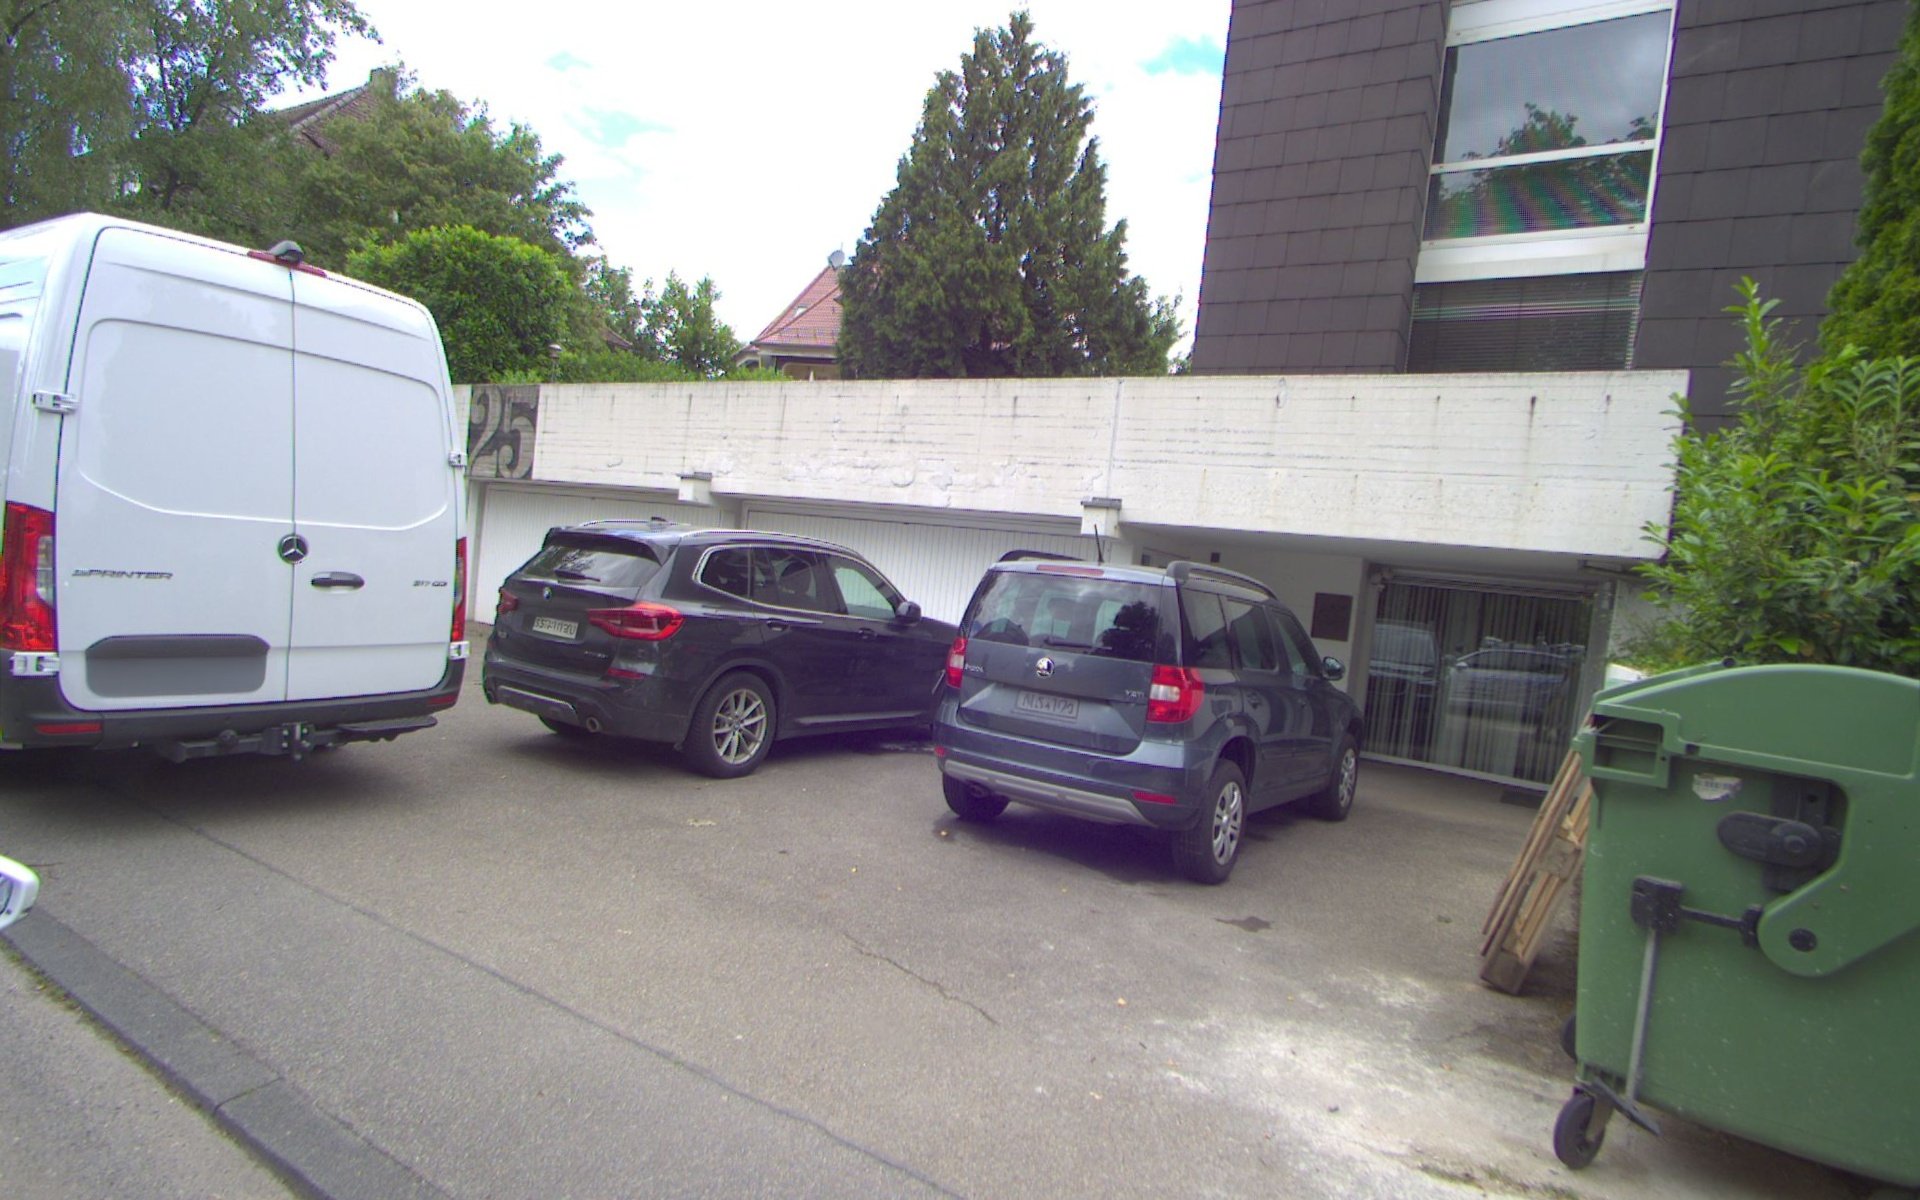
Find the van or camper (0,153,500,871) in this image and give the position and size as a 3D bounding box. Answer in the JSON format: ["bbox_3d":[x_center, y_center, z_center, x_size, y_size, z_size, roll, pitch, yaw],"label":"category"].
[{"bbox_3d":[-5.771,-0.583,6.273,6.436,2.662,1.990,6,4,32],"label":"van or camper"}]

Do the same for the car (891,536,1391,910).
[{"bbox_3d":[1.486,0.640,6.792,1.717,1.673,3.899,6,1,35],"label":"car"}]

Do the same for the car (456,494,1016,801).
[{"bbox_3d":[-1.404,0.319,8.031,1.668,1.696,4.383,6,1,32],"label":"car"}]

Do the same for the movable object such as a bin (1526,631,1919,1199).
[{"bbox_3d":[2.411,0.900,2.972,1.098,1.469,1.405,6,1,32],"label":"movable object such as a bin"}]
